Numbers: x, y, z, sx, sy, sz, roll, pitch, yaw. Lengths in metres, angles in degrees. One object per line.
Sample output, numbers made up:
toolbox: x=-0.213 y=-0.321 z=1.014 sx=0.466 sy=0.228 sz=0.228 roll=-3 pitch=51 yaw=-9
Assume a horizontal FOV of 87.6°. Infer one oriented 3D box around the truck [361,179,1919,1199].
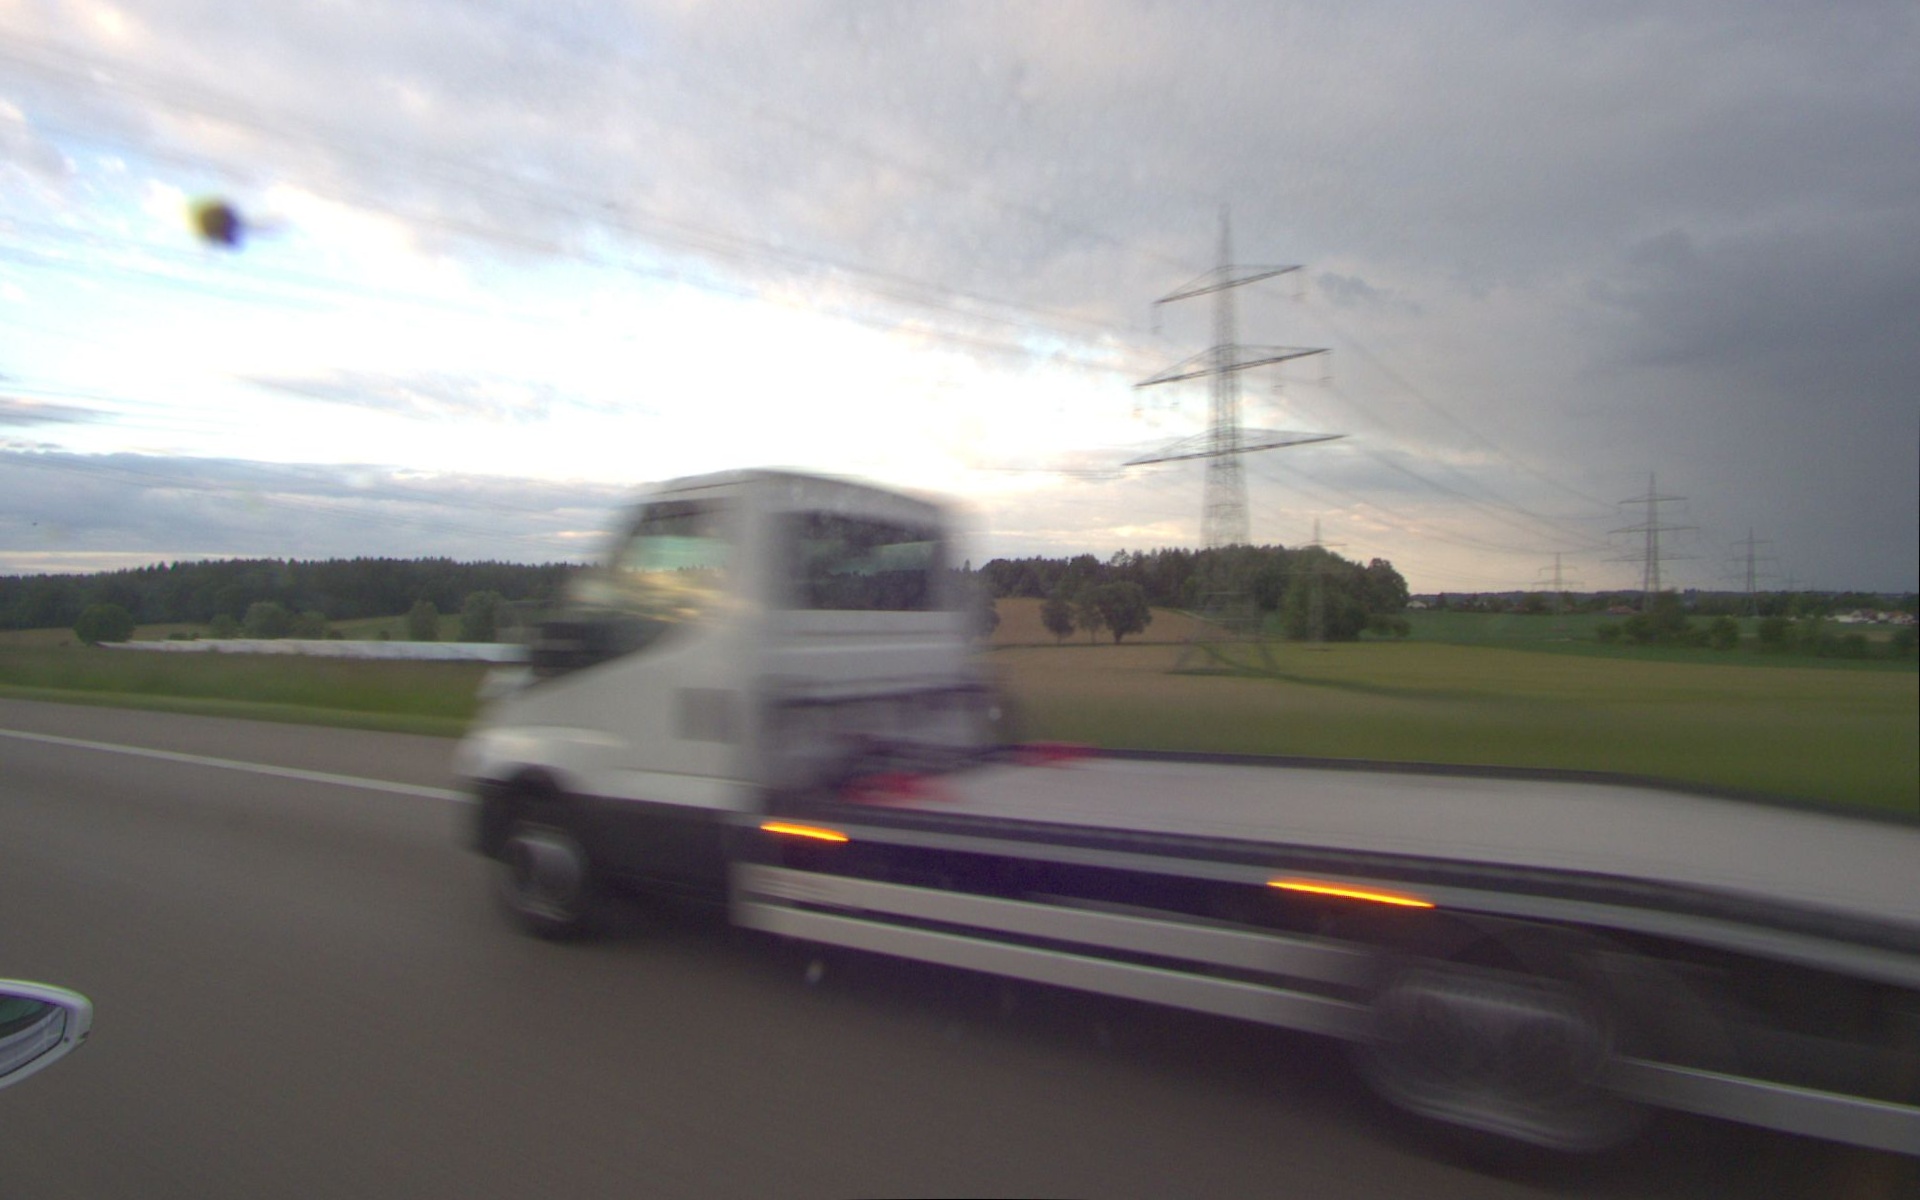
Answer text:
truck: x=0.515 y=0.366 z=4.387 sx=7.586 sy=2.390 sz=2.168 roll=-1 pitch=-2 yaw=32
